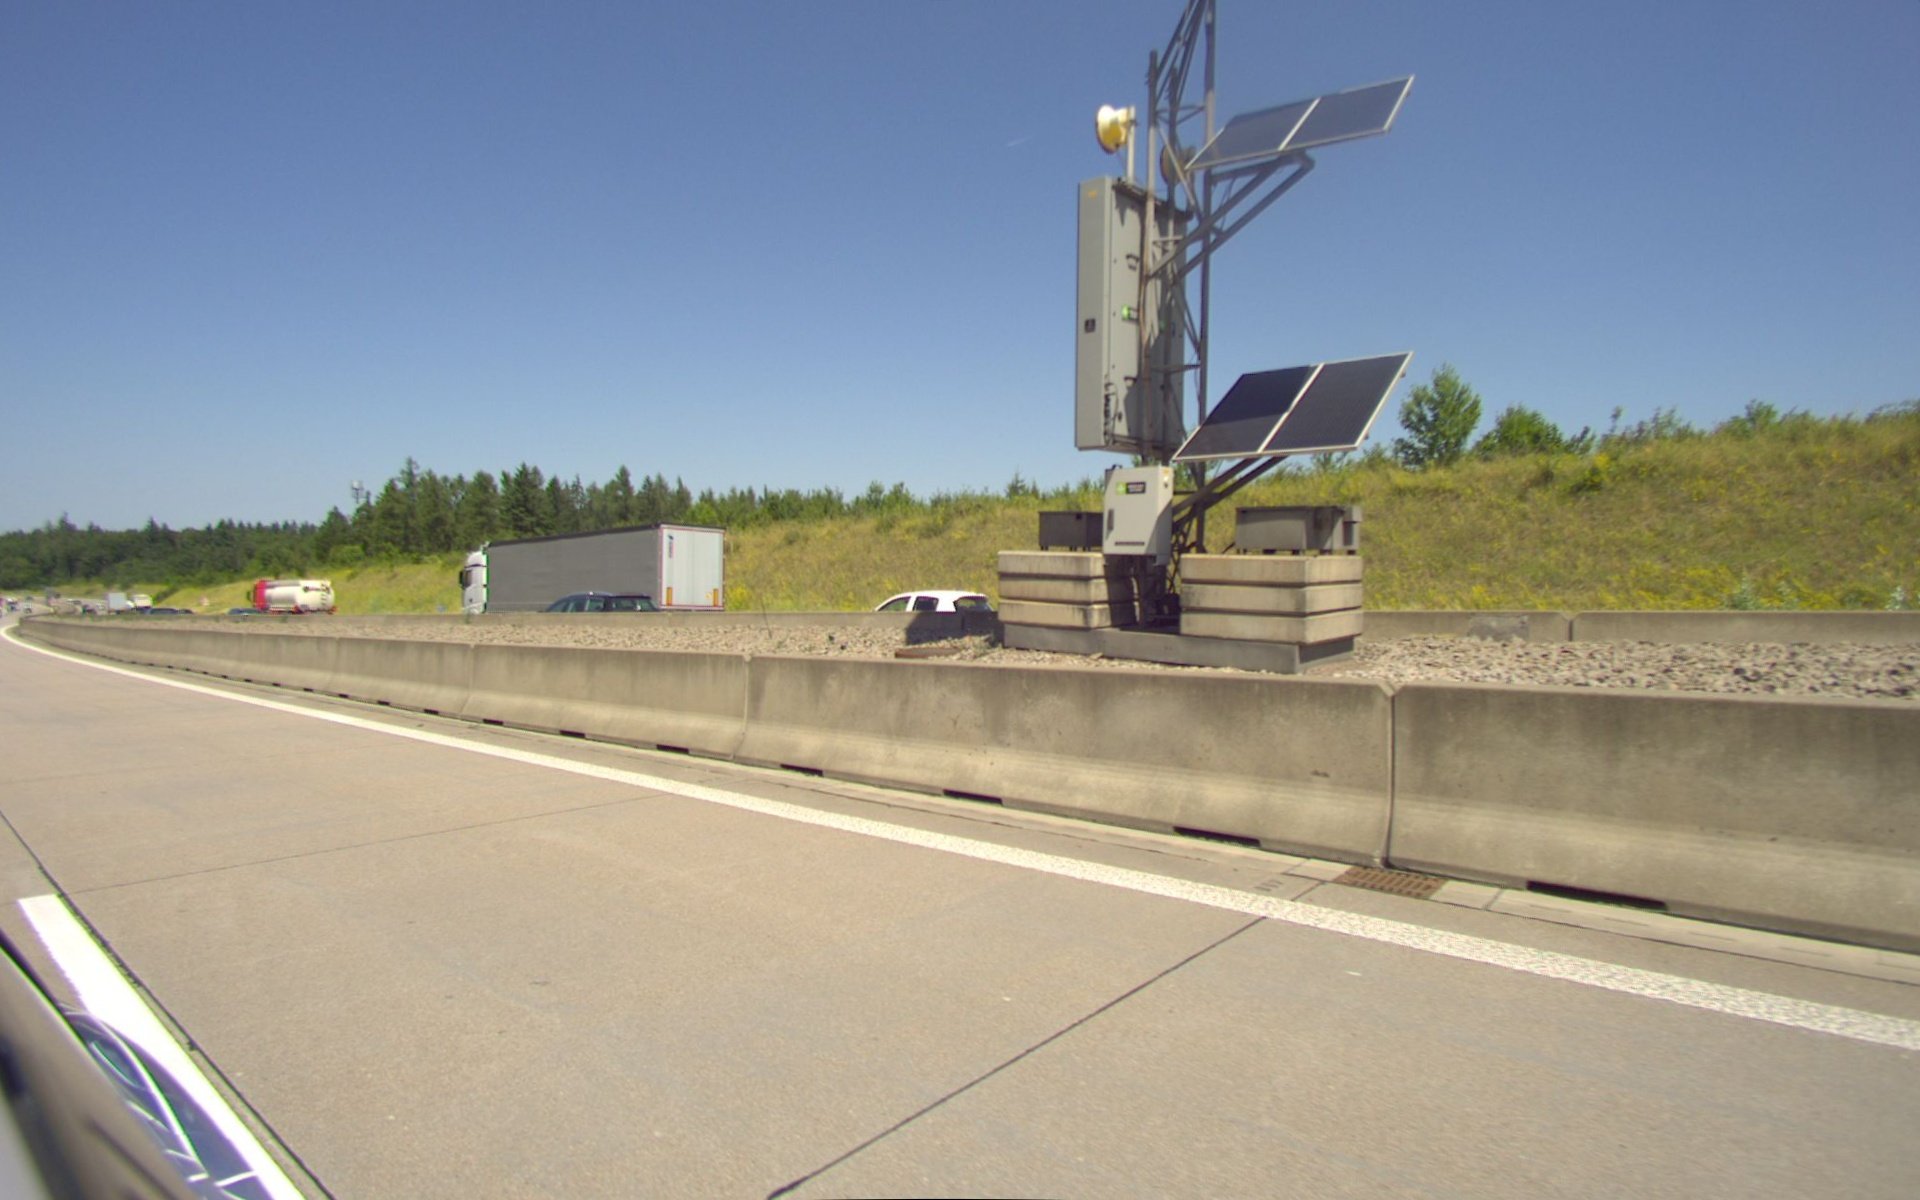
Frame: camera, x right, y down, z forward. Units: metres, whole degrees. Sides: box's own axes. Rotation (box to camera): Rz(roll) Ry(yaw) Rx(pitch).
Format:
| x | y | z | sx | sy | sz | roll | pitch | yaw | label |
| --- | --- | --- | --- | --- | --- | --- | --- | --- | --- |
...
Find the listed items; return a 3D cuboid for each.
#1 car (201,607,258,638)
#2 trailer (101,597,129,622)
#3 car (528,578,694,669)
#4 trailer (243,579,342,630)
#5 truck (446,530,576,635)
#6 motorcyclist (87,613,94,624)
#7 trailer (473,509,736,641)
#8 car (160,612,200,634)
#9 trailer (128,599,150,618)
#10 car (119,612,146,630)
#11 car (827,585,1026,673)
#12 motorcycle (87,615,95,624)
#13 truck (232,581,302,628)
| x | y | z | sx | sy | sz | roll | pitch | yaw | label |
| --- | --- | --- | --- | --- | --- | --- | --- | --- | --- |
| -43.611 | 1.352 | 60.396 | 4.000 | 1.785 | 1.972 | -1 | -1 | 43 | car |
| -145.134 | 1.641 | 173.749 | 3.123 | 3.961 | 13.885 | -3 | 2 | -41 | trailer |
| -8.224 | 0.529 | 23.698 | 3.998 | 1.929 | 1.973 | -1 | -1 | 41 | car |
| -46.953 | 0.293 | 70.998 | 11.830 | 3.238 | 2.902 | -1 | 2 | 43 | trailer |
| -19.215 | -0.738 | 43.217 | 5.760 | 4.199 | 2.902 | -1 | 2 | 43 | truck |
| -156.840 | 3.329 | 182.554 | 0.809 | 1.888 | 1.493 | -1 | 0 | -43 | motorcyclist |
| -13.922 | -0.800 | 38.235 | 14.388 | 4.199 | 2.902 | -1 | 2 | 43 | trailer |
| -62.405 | 1.805 | 80.950 | 4.000 | 1.730 | 1.972 | -1 | -1 | 43 | car |
| -152.124 | 1.578 | 187.502 | 2.692 | 3.438 | 8.967 | -3 | 2 | -42 | trailer |
| -88.971 | 2.266 | 108.798 | 4.001 | 1.810 | 1.800 | -1 | 0 | 44 | car |
| -0.778 | 0.582 | 21.594 | 3.998 | 1.696 | 1.973 | -1 | -1 | 41 | car |
| -156.862 | 3.511 | 182.602 | 0.996 | 1.561 | 2.486 | -1 | 0 | -43 | motorcycle |
| -51.578 | 0.350 | 75.245 | 5.904 | 3.238 | 2.902 | -1 | 2 | 42 | truck |
